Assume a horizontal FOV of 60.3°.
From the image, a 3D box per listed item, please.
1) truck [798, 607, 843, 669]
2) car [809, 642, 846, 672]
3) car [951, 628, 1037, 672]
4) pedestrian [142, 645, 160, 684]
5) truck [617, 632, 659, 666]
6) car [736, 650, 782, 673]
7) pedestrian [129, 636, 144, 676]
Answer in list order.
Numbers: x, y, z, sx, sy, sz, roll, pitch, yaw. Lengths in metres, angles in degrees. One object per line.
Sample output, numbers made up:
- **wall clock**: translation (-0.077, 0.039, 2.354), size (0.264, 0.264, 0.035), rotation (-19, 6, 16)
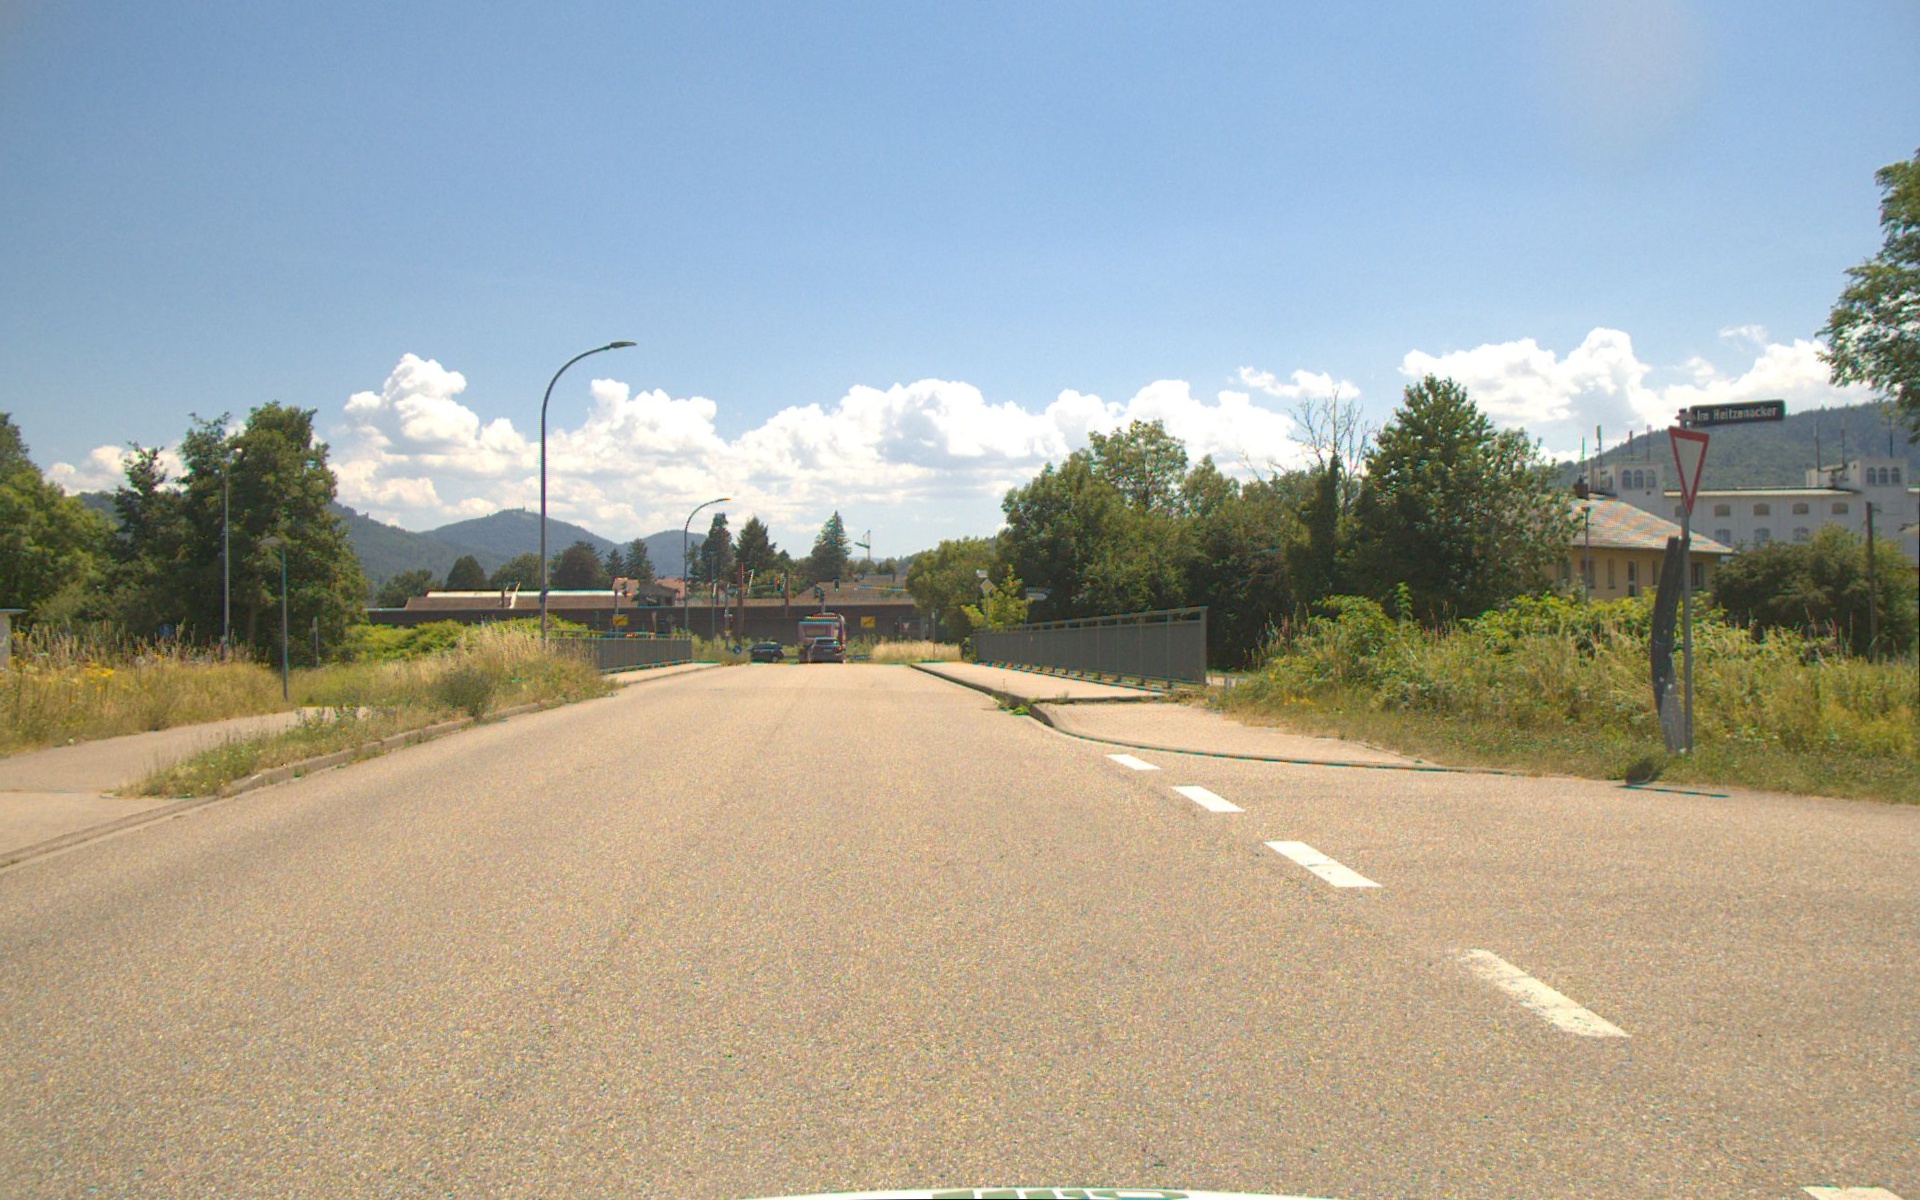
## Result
- **truck**: translation (-10.155, 2.748, 119.242), size (2.938, 4.254, 11.790), rotation (0, -2, -6)
- **car**: translation (-7.550, 3.207, 93.820), size (1.955, 1.529, 3.995), rotation (1, -1, -6)
- **car**: translation (1.405, 2.077, 70.084), size (1.864, 1.663, 3.726), rotation (-1, 1, -34)
- **pedestrian**: translation (-35.294, 2.805, 72.157), size (0.619, 1.703, 0.593), rotation (2, -2, -26)
- **truck**: translation (-24.110, 3.678, 123.586), size (2.274, 2.378, 9.009), rotation (-2, -1, -16)
- **car**: translation (-17.469, 5.325, 143.451), size (3.912, 1.731, 1.905), rotation (-1, 2, -9)
- **pedestrian**: translation (-35.476, 2.419, 71.288), size (0.507, 1.703, 0.623), rotation (2, -2, -26)
